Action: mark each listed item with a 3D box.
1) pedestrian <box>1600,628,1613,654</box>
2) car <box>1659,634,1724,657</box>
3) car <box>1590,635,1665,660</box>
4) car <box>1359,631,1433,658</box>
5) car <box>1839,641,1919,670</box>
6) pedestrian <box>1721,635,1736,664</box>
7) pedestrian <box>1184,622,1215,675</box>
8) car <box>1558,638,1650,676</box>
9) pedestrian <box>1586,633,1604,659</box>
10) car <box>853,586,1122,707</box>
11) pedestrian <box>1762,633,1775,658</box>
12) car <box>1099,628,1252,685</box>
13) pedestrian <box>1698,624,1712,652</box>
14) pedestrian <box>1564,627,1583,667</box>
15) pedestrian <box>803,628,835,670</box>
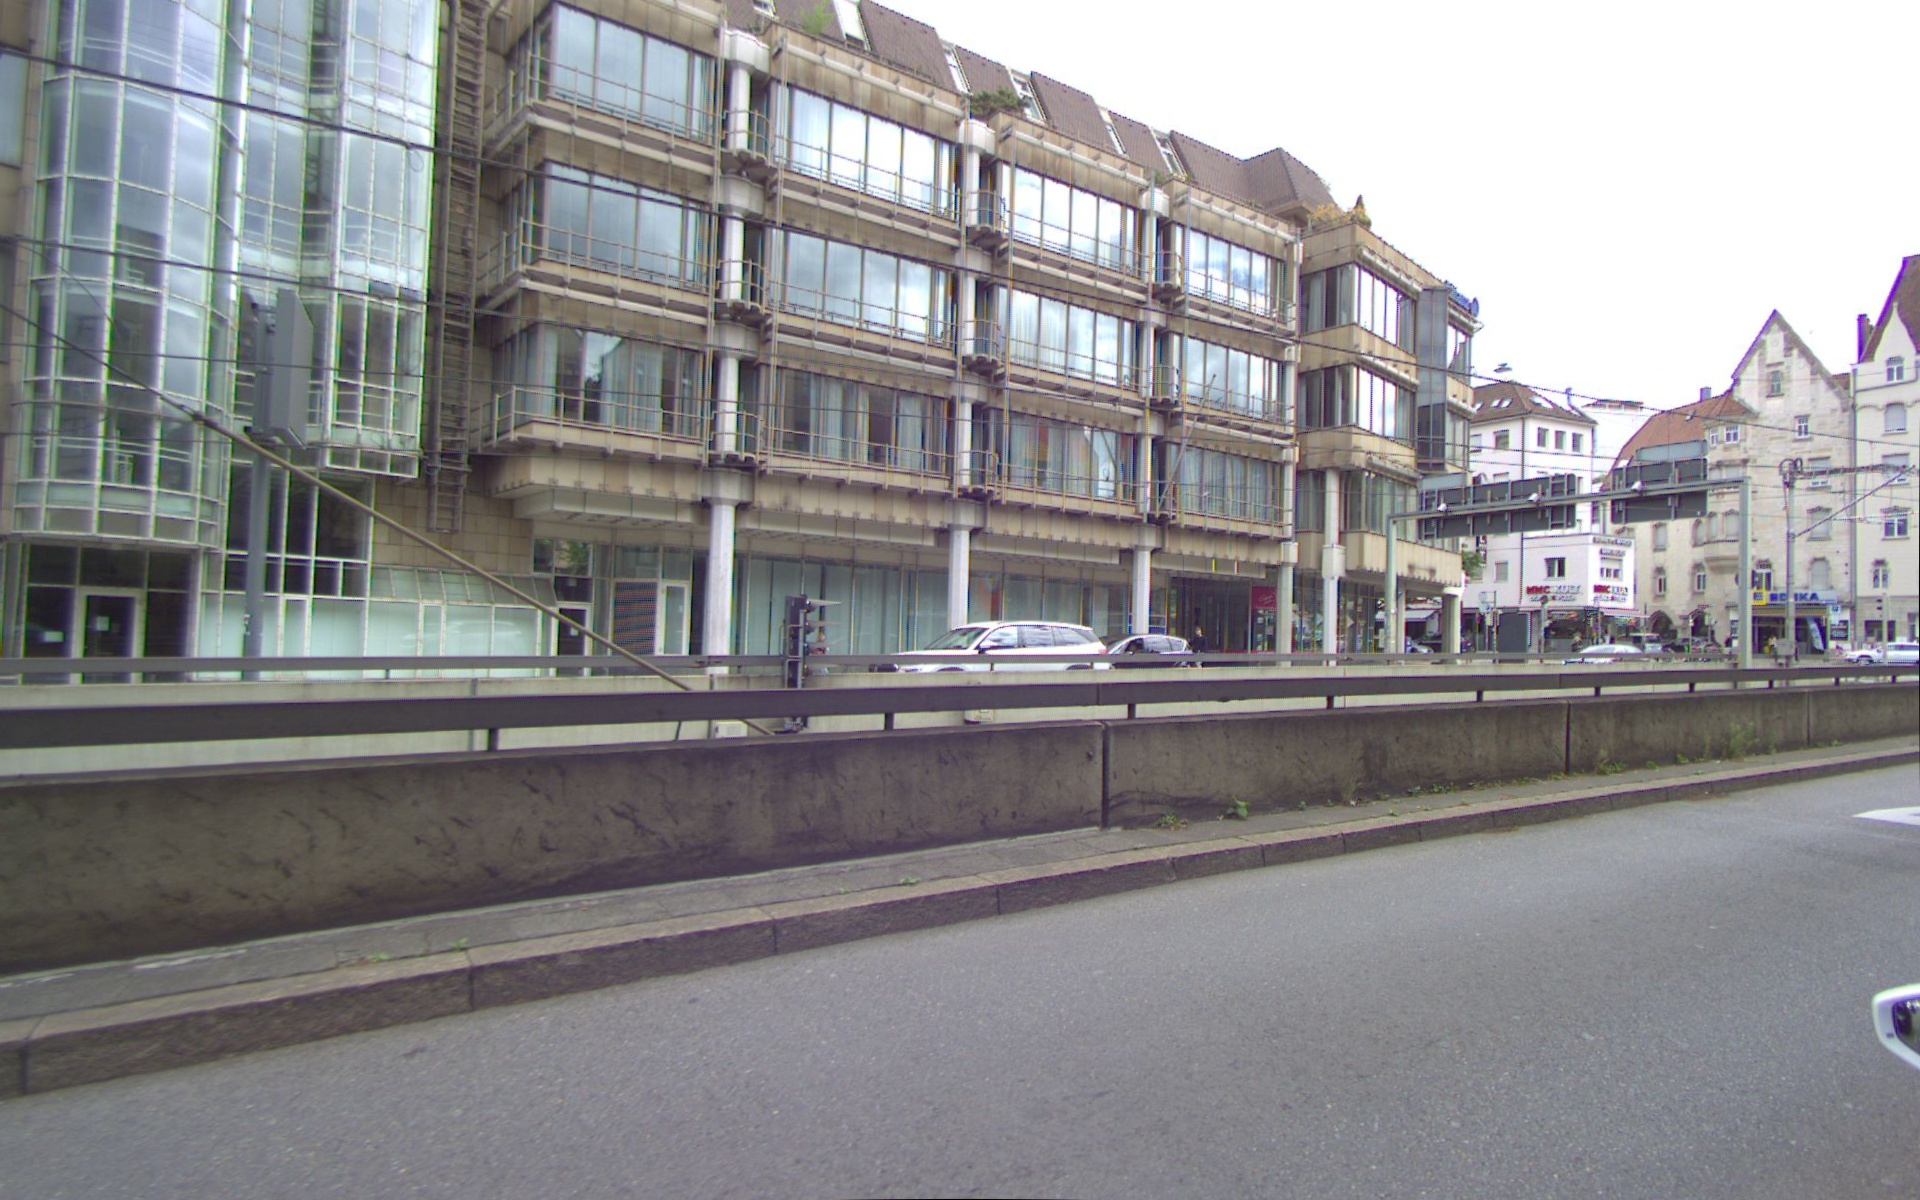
[{"bbox_3d":[44.885,2.843,69.702,0.588,1.803,0.510,1,-1,-13],"label":"pedestrian"},{"bbox_3d":[54.016,3.387,74.263,1.608,1.706,3.777,1,-3,-11],"label":"car"},{"bbox_3d":[49.023,3.461,73.881,1.726,1.581,4.499,2,-1,-16],"label":"car"},{"bbox_3d":[28.219,2.844,65.064,1.935,1.550,3.953,2,-1,-40],"label":"car"},{"bbox_3d":[55.700,3.325,60.093,4.440,1.581,1.749,1,-1,36],"label":"car"},{"bbox_3d":[48.712,3.139,63.660,0.567,1.803,0.510,1,-1,-13],"label":"pedestrian"},{"bbox_3d":[8.523,1.712,35.740,0.731,1.835,0.727,2,0,-31],"label":"pedestrian"},{"bbox_3d":[27.248,2.371,42.498,3.995,1.521,1.656,2,-2,-30],"label":"car"},{"bbox_3d":[42.816,3.099,67.735,0.643,1.728,0.781,1,-1,-19],"label":"pedestrian"},{"bbox_3d":[0.563,0.801,18.004,4.558,1.867,1.822,2,2,-34],"label":"car"},{"bbox_3d":[59.402,3.315,73.789,0.565,1.803,0.512,1,-1,15],"label":"pedestrian"},{"bbox_3d":[6.235,1.593,28.942,4.361,1.521,1.656,2,-2,-30],"label":"car"},{"bbox_3d":[48.552,2.488,65.467,0.501,1.803,0.577,1,-1,1],"label":"pedestrian"},{"bbox_3d":[28.351,2.177,46.431,0.569,1.803,0.509,1,-1,-23],"label":"pedestrian"},{"bbox_3d":[-4.392,1.514,31.233,0.731,1.282,0.727,2,0,-31],"label":"pedestrian"}]
